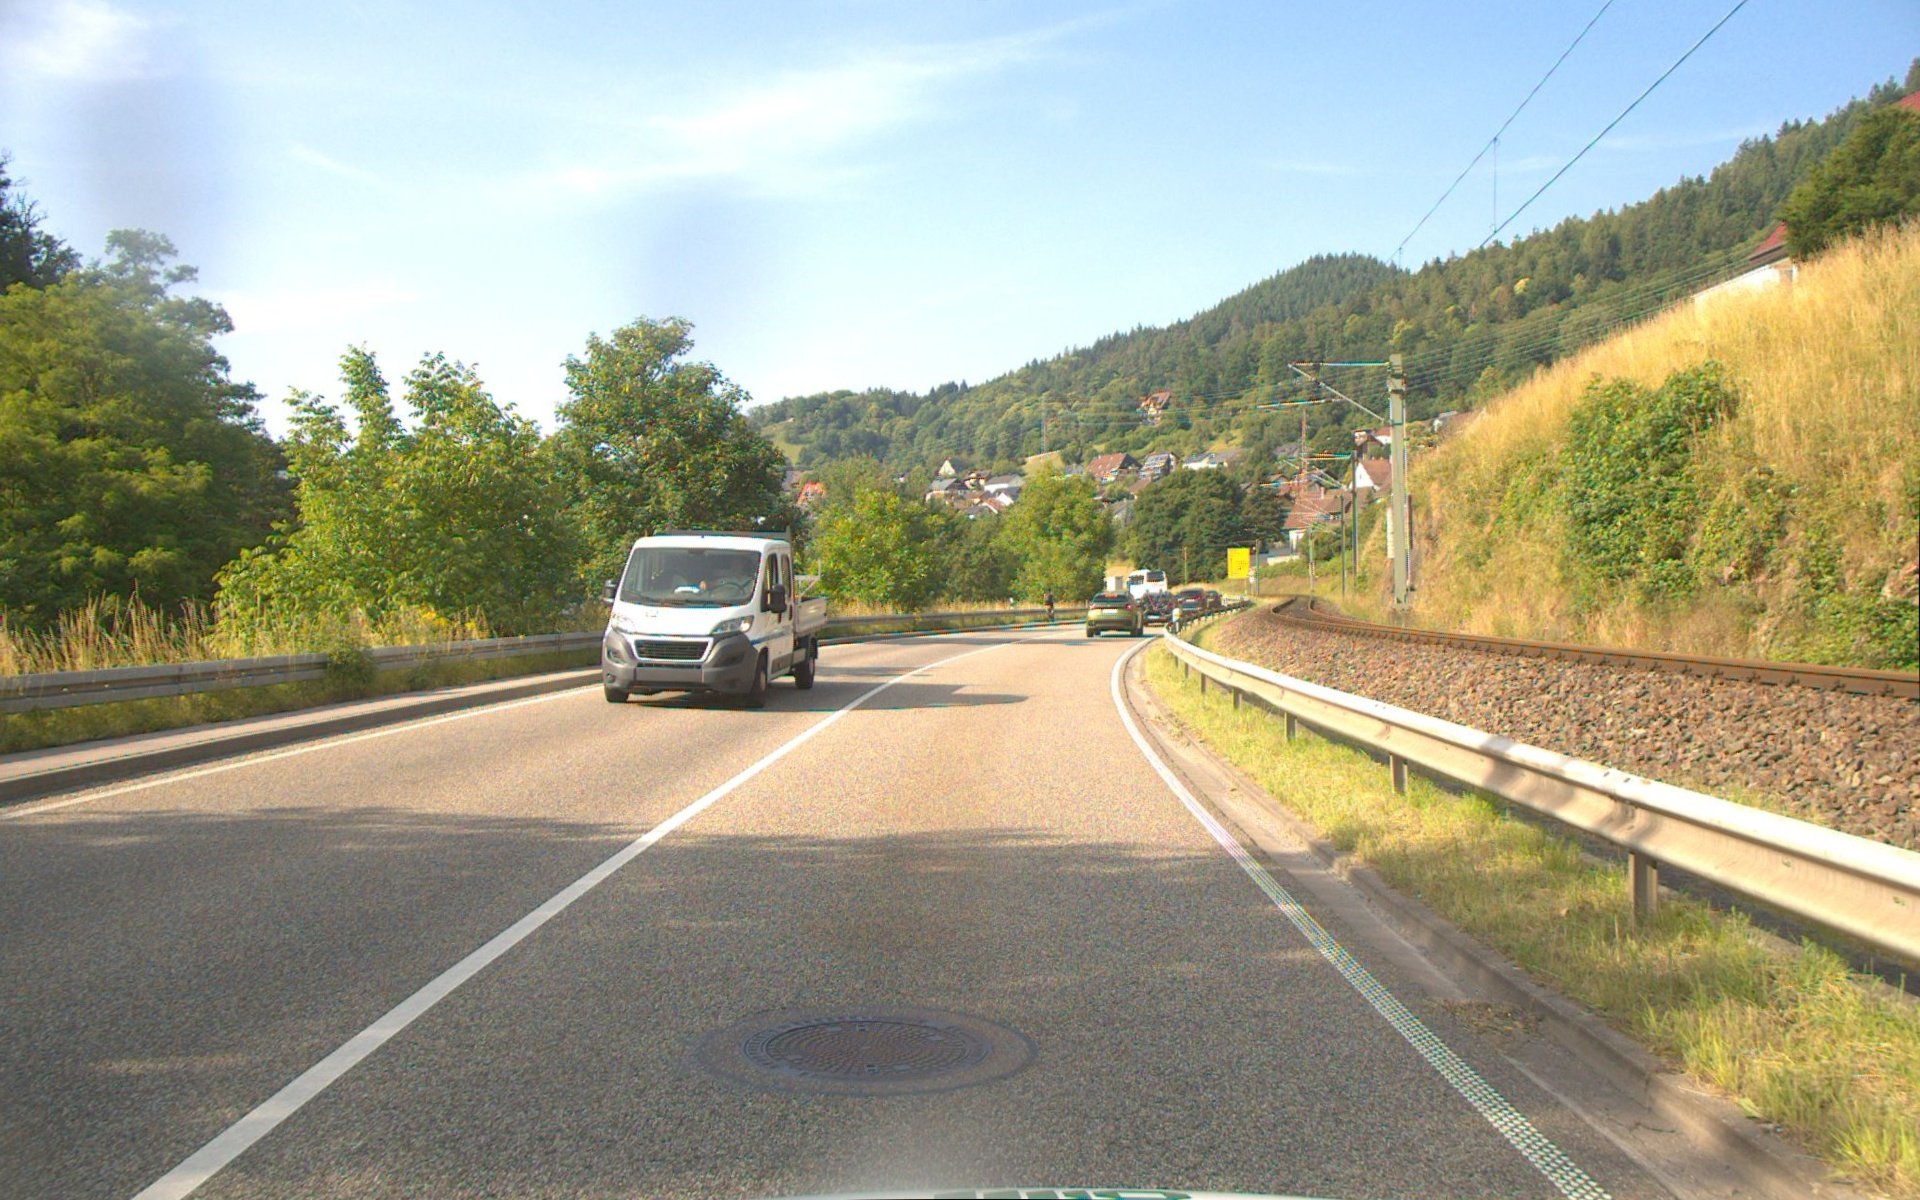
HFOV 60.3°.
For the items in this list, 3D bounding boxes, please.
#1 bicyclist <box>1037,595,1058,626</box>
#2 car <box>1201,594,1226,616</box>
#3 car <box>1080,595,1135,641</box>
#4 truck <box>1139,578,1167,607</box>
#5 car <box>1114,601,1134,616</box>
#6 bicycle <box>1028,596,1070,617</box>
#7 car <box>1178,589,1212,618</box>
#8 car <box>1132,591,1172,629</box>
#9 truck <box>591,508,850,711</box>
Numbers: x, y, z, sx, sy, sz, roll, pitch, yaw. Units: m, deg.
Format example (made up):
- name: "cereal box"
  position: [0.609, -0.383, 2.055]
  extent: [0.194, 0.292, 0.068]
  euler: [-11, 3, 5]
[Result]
- name: "bicyclist"
  position: [4.626, 0.558, 87.473]
  extent: [1.010, 1.614, 0.559]
  euler: [0, 1, 17]
- name: "car"
  position: [18.787, 0.360, 122.479]
  extent: [1.809, 1.553, 3.665]
  euler: [-1, 0, 9]
- name: "car"
  position: [5.078, 0.592, 56.661]
  extent: [1.678, 1.480, 4.003]
  euler: [1, 0, 8]
- name: "truck"
  position: [21.717, -0.866, 186.496]
  extent: [2.655, 3.138, 6.110]
  euler: [0, 0, 2]
- name: "car"
  position: [17.867, 0.918, 179.883]
  extent: [1.545, 1.504, 4.003]
  euler: [6, 1, 12]
- name: "bicycle"
  position: [4.706, 0.335, 87.431]
  extent: [2.175, 1.064, 0.559]
  euler: [0, 1, 16]
- name: "car"
  position: [14.114, 0.213, 99.196]
  extent: [1.840, 1.716, 4.003]
  euler: [0, 0, 11]
- name: "car"
  position: [8.280, 0.419, 71.149]
  extent: [1.631, 1.586, 4.003]
  euler: [0, 0, 8]
- name: "truck"
  position: [-3.130, 0.107, 23.432]
  extent: [2.111, 2.407, 6.750]
  euler: [1, 0, 5]
